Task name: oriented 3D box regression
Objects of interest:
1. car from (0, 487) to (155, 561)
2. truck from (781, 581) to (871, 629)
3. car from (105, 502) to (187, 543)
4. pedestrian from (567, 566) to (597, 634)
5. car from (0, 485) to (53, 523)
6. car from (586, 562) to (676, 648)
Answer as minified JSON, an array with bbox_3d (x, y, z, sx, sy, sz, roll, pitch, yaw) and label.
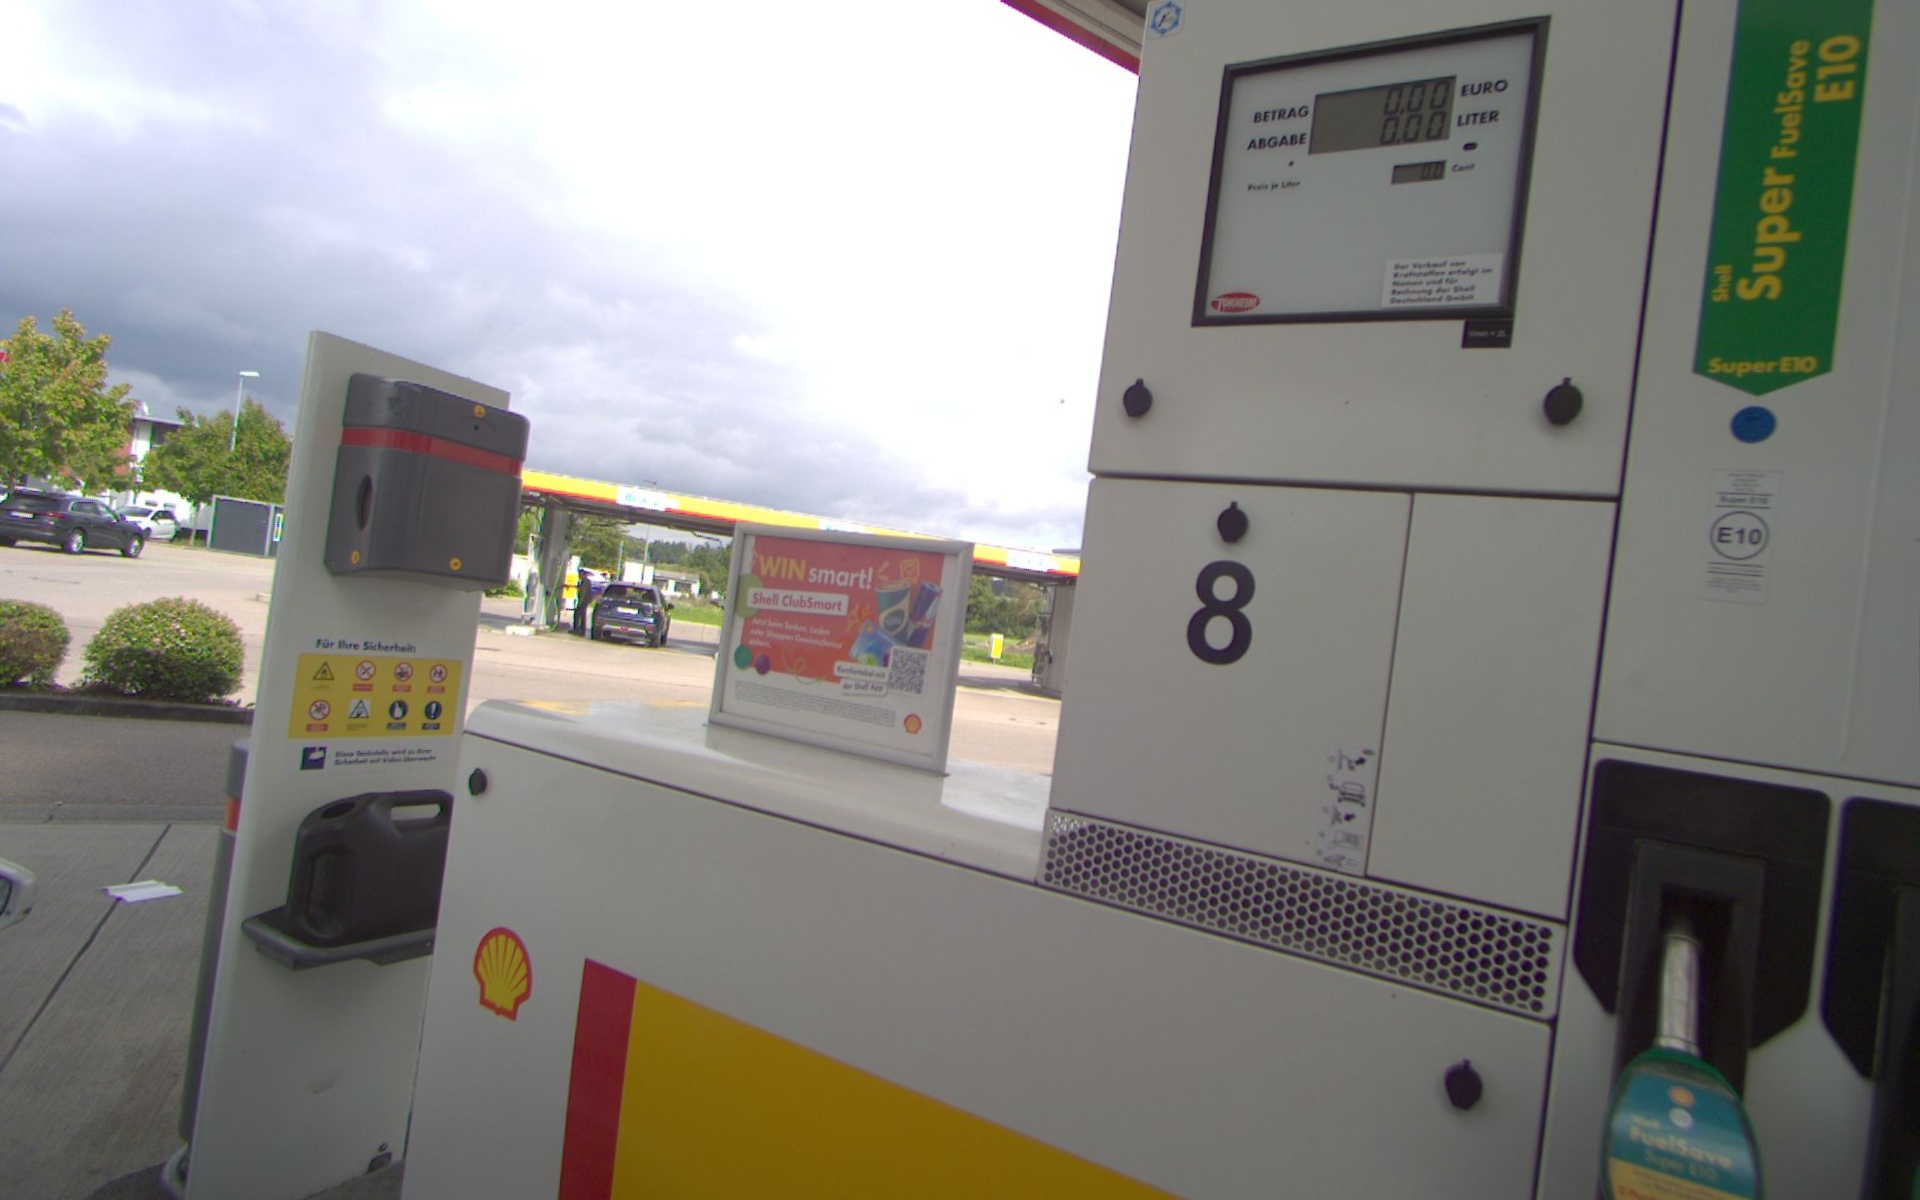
[{"bbox_3d":[-25.917,-2.165,29.257,1.855,1.566,4.498,8,-2,-10],"label":"car"},{"bbox_3d":[-13.008,0.529,97.504,7.978,3.575,2.687,8,-2,-19],"label":"truck"},{"bbox_3d":[-35.248,-3.340,43.641,1.346,1.322,3.098,8,-2,-12],"label":"car"},{"bbox_3d":[-10.065,-0.006,26.795,0.550,1.742,0.526,7,-1,-21],"label":"pedestrian"},{"bbox_3d":[-57.351,-5.904,60.234,2.149,1.854,4.870,8,-2,-11],"label":"car"},{"bbox_3d":[-8.684,0.148,26.861,1.696,1.919,3.800,8,-2,-12],"label":"car"}]
